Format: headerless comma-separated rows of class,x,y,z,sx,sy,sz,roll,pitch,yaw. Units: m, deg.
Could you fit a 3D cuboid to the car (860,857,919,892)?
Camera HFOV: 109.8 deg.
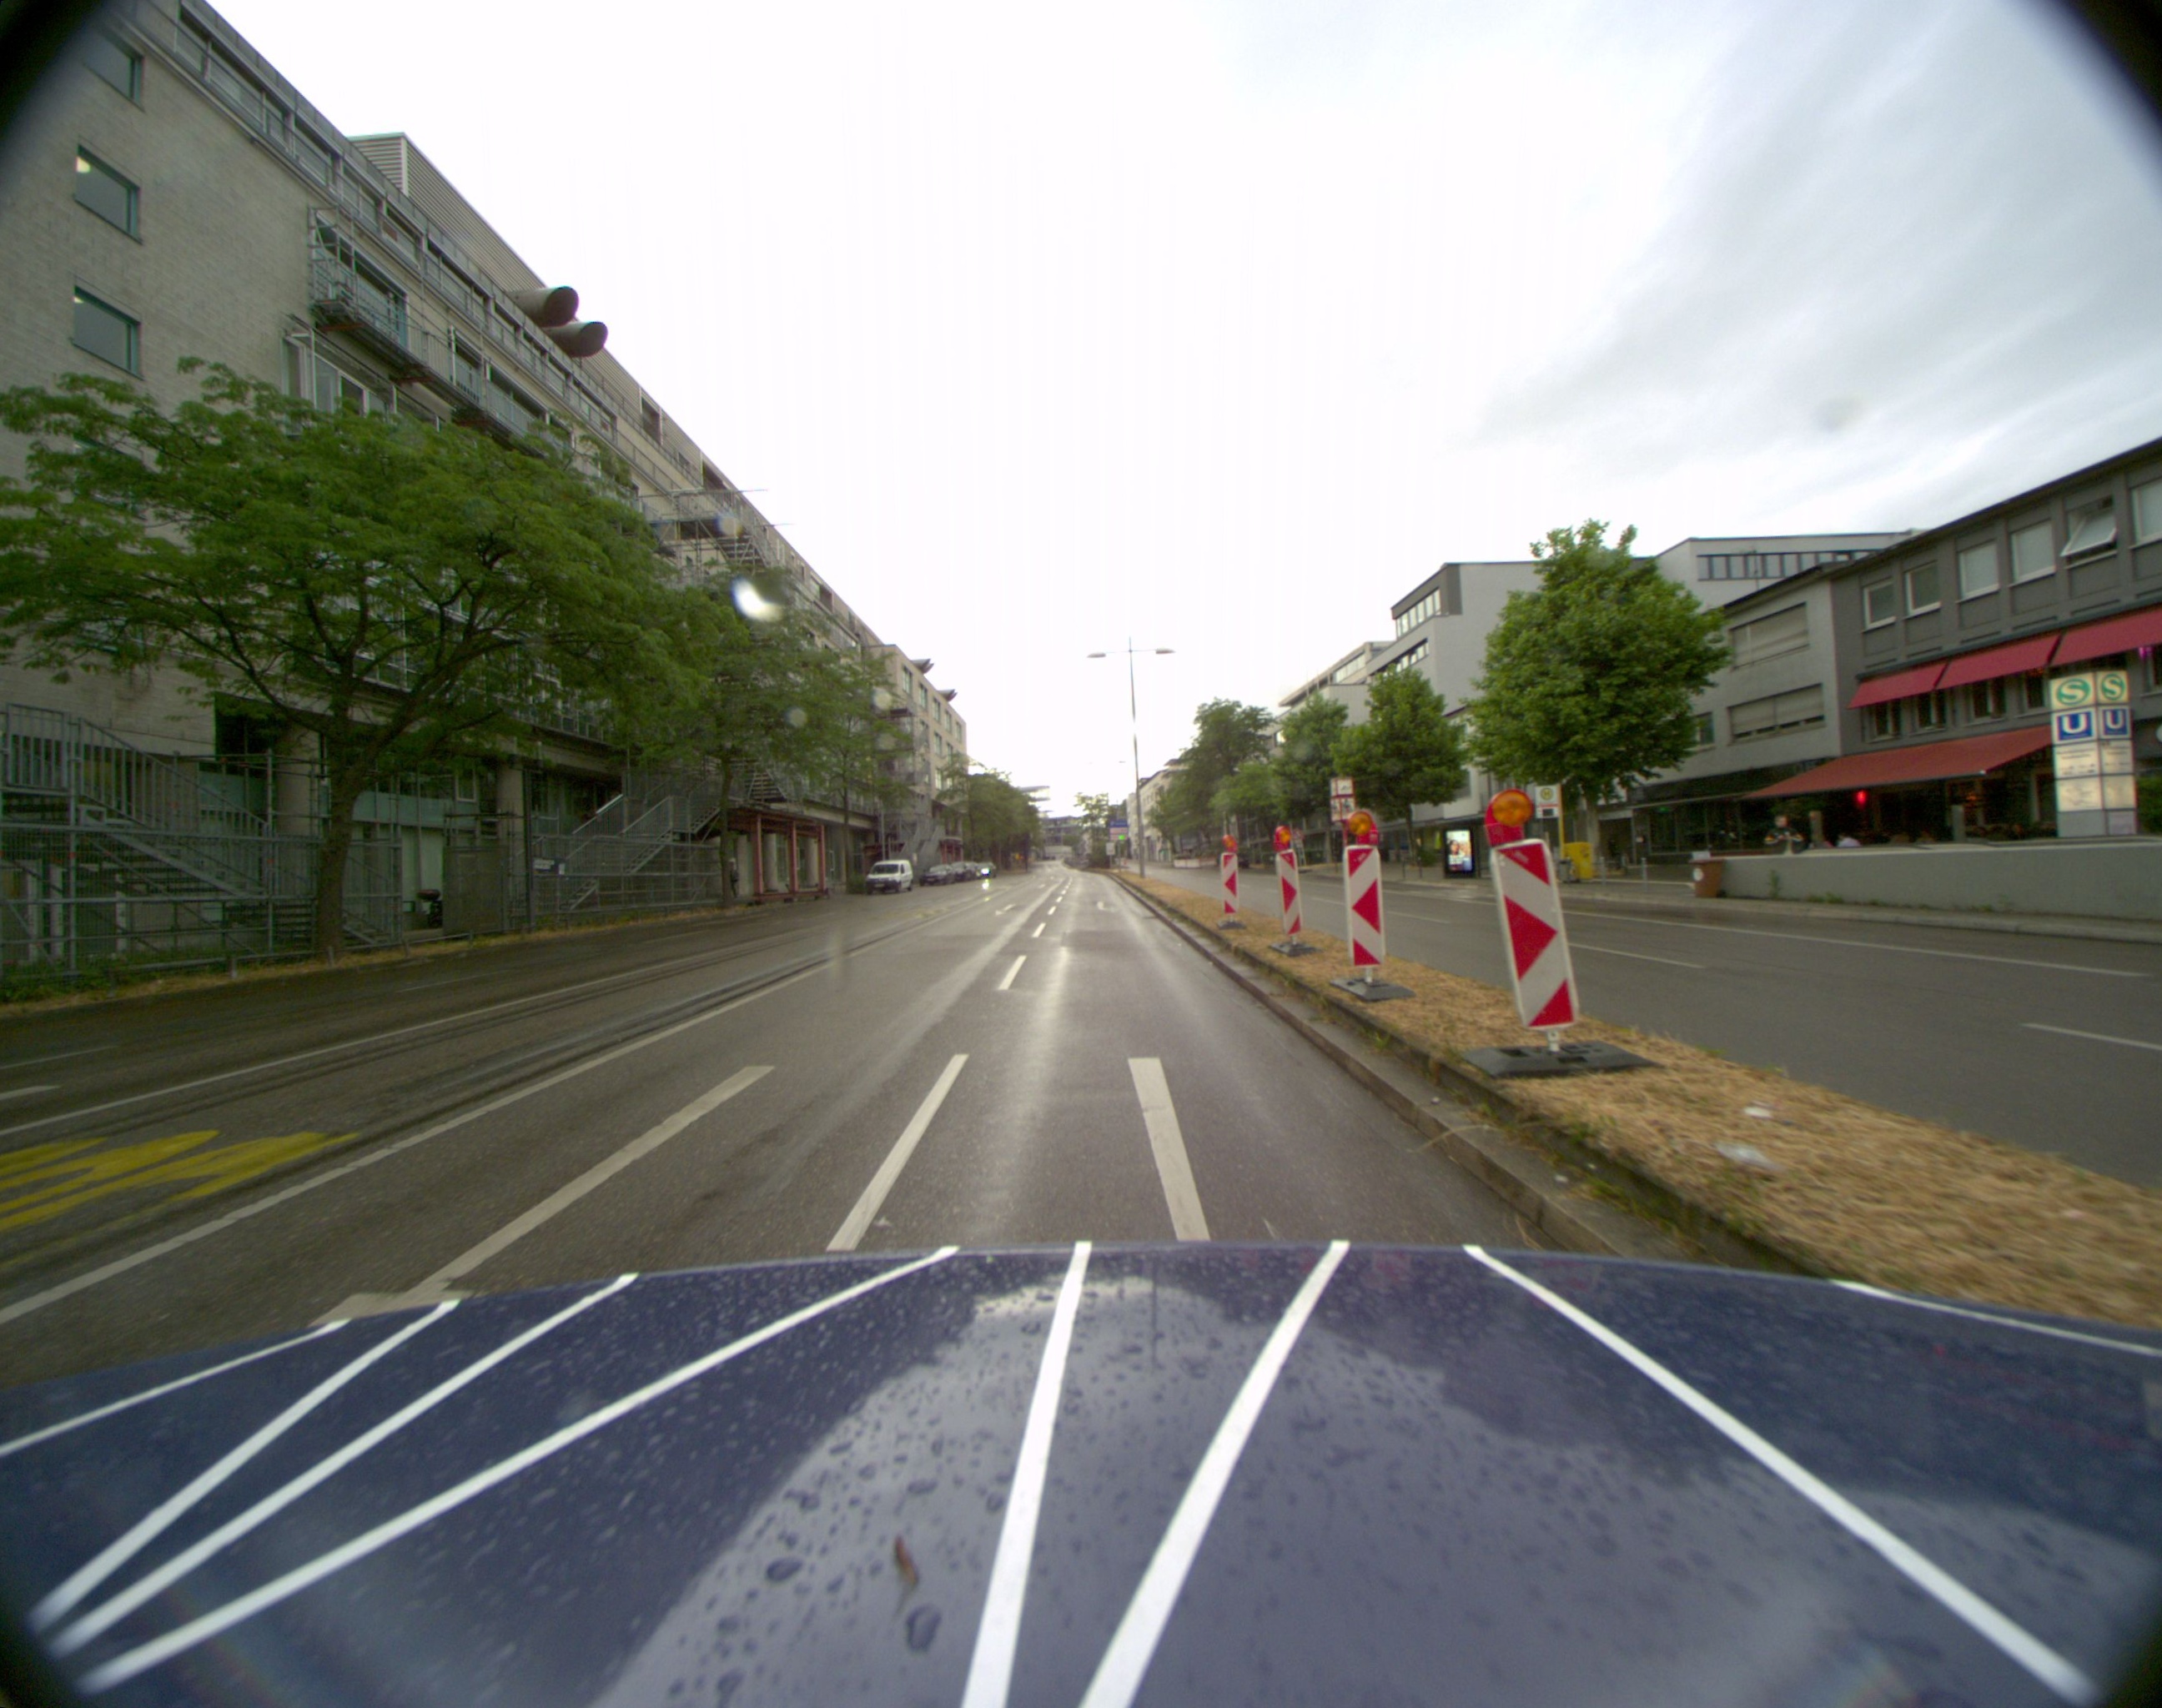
car,-10.459,1.097,41.939,1.998,1.739,4.527,-2,0,1

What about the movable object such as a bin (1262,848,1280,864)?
movable object such as a bin,17.505,0.145,70.038,1.362,1.418,1.088,-2,0,1

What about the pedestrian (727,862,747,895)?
pedestrian,-18.061,1.284,39.918,0.677,1.732,0.653,-2,1,3

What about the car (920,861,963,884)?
car,-9.787,1.269,53.685,1.873,1.429,4.922,-2,0,3

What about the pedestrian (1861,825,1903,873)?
pedestrian,24.892,-0.143,23.620,0.691,1.442,0.547,-2,0,-4

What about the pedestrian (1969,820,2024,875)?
pedestrian,24.759,-0.171,20.555,0.635,1.442,0.691,-2,0,-6

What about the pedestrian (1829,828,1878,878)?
pedestrian,23.168,-0.019,22.799,0.691,1.442,0.707,-2,0,-4

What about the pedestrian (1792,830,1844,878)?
pedestrian,23.095,-0.009,23.833,0.691,1.442,0.914,-2,0,-4

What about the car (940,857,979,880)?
car,-9.598,1.128,60.478,1.998,1.636,4.863,-2,0,3

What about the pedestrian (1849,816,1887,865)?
pedestrian,26.101,-0.442,25.204,0.598,1.561,0.604,-2,1,-9

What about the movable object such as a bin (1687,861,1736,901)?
movable object such as a bin,14.507,0.619,17.487,0.533,0.892,0.682,-1,0,-9

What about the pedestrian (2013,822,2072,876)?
pedestrian,24.905,-0.122,19.695,0.635,1.336,0.691,-2,0,-6

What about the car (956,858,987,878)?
car,-9.453,1.153,65.852,1.866,1.591,4.593,-2,0,1

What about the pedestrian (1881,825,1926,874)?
pedestrian,24.861,-0.130,22.977,0.691,1.442,0.583,-2,0,-2

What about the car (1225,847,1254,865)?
car,15.313,0.256,73.744,1.783,1.626,4.024,-2,-1,-2

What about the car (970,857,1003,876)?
car,-8.860,1.151,71.772,1.998,1.591,5.291,-2,0,4

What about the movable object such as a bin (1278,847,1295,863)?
movable object such as a bin,18.945,0.103,70.040,1.281,1.418,1.088,-2,0,1

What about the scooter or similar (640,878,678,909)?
scooter or similar,-17.187,1.594,30.969,0.633,1.155,1.547,-2,0,1

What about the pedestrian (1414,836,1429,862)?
pedestrian,24.000,-0.359,53.537,0.698,1.753,0.653,-2,1,3

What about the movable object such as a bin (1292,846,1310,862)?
movable object such as a bin,20.296,-0.024,70.065,1.281,1.418,1.088,-2,0,1

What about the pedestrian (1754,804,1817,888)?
pedestrian,16.271,-0.177,17.565,0.691,1.874,0.758,-2,0,-4

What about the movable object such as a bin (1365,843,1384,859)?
movable object such as a bin,26.822,-0.300,69.536,1.088,1.427,1.281,-2,0,-9

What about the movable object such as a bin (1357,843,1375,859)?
movable object such as a bin,26.635,-0.240,71.074,1.088,1.427,1.281,-2,0,-9

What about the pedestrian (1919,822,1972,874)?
pedestrian,24.933,-0.179,21.931,0.728,1.442,0.691,-2,0,-6

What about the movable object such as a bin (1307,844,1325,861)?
movable object such as a bin,21.690,-0.146,70.057,1.281,1.479,1.088,-2,0,1

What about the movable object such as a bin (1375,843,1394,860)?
movable object such as a bin,27.229,-0.227,68.157,1.088,1.427,1.281,-2,0,-9
